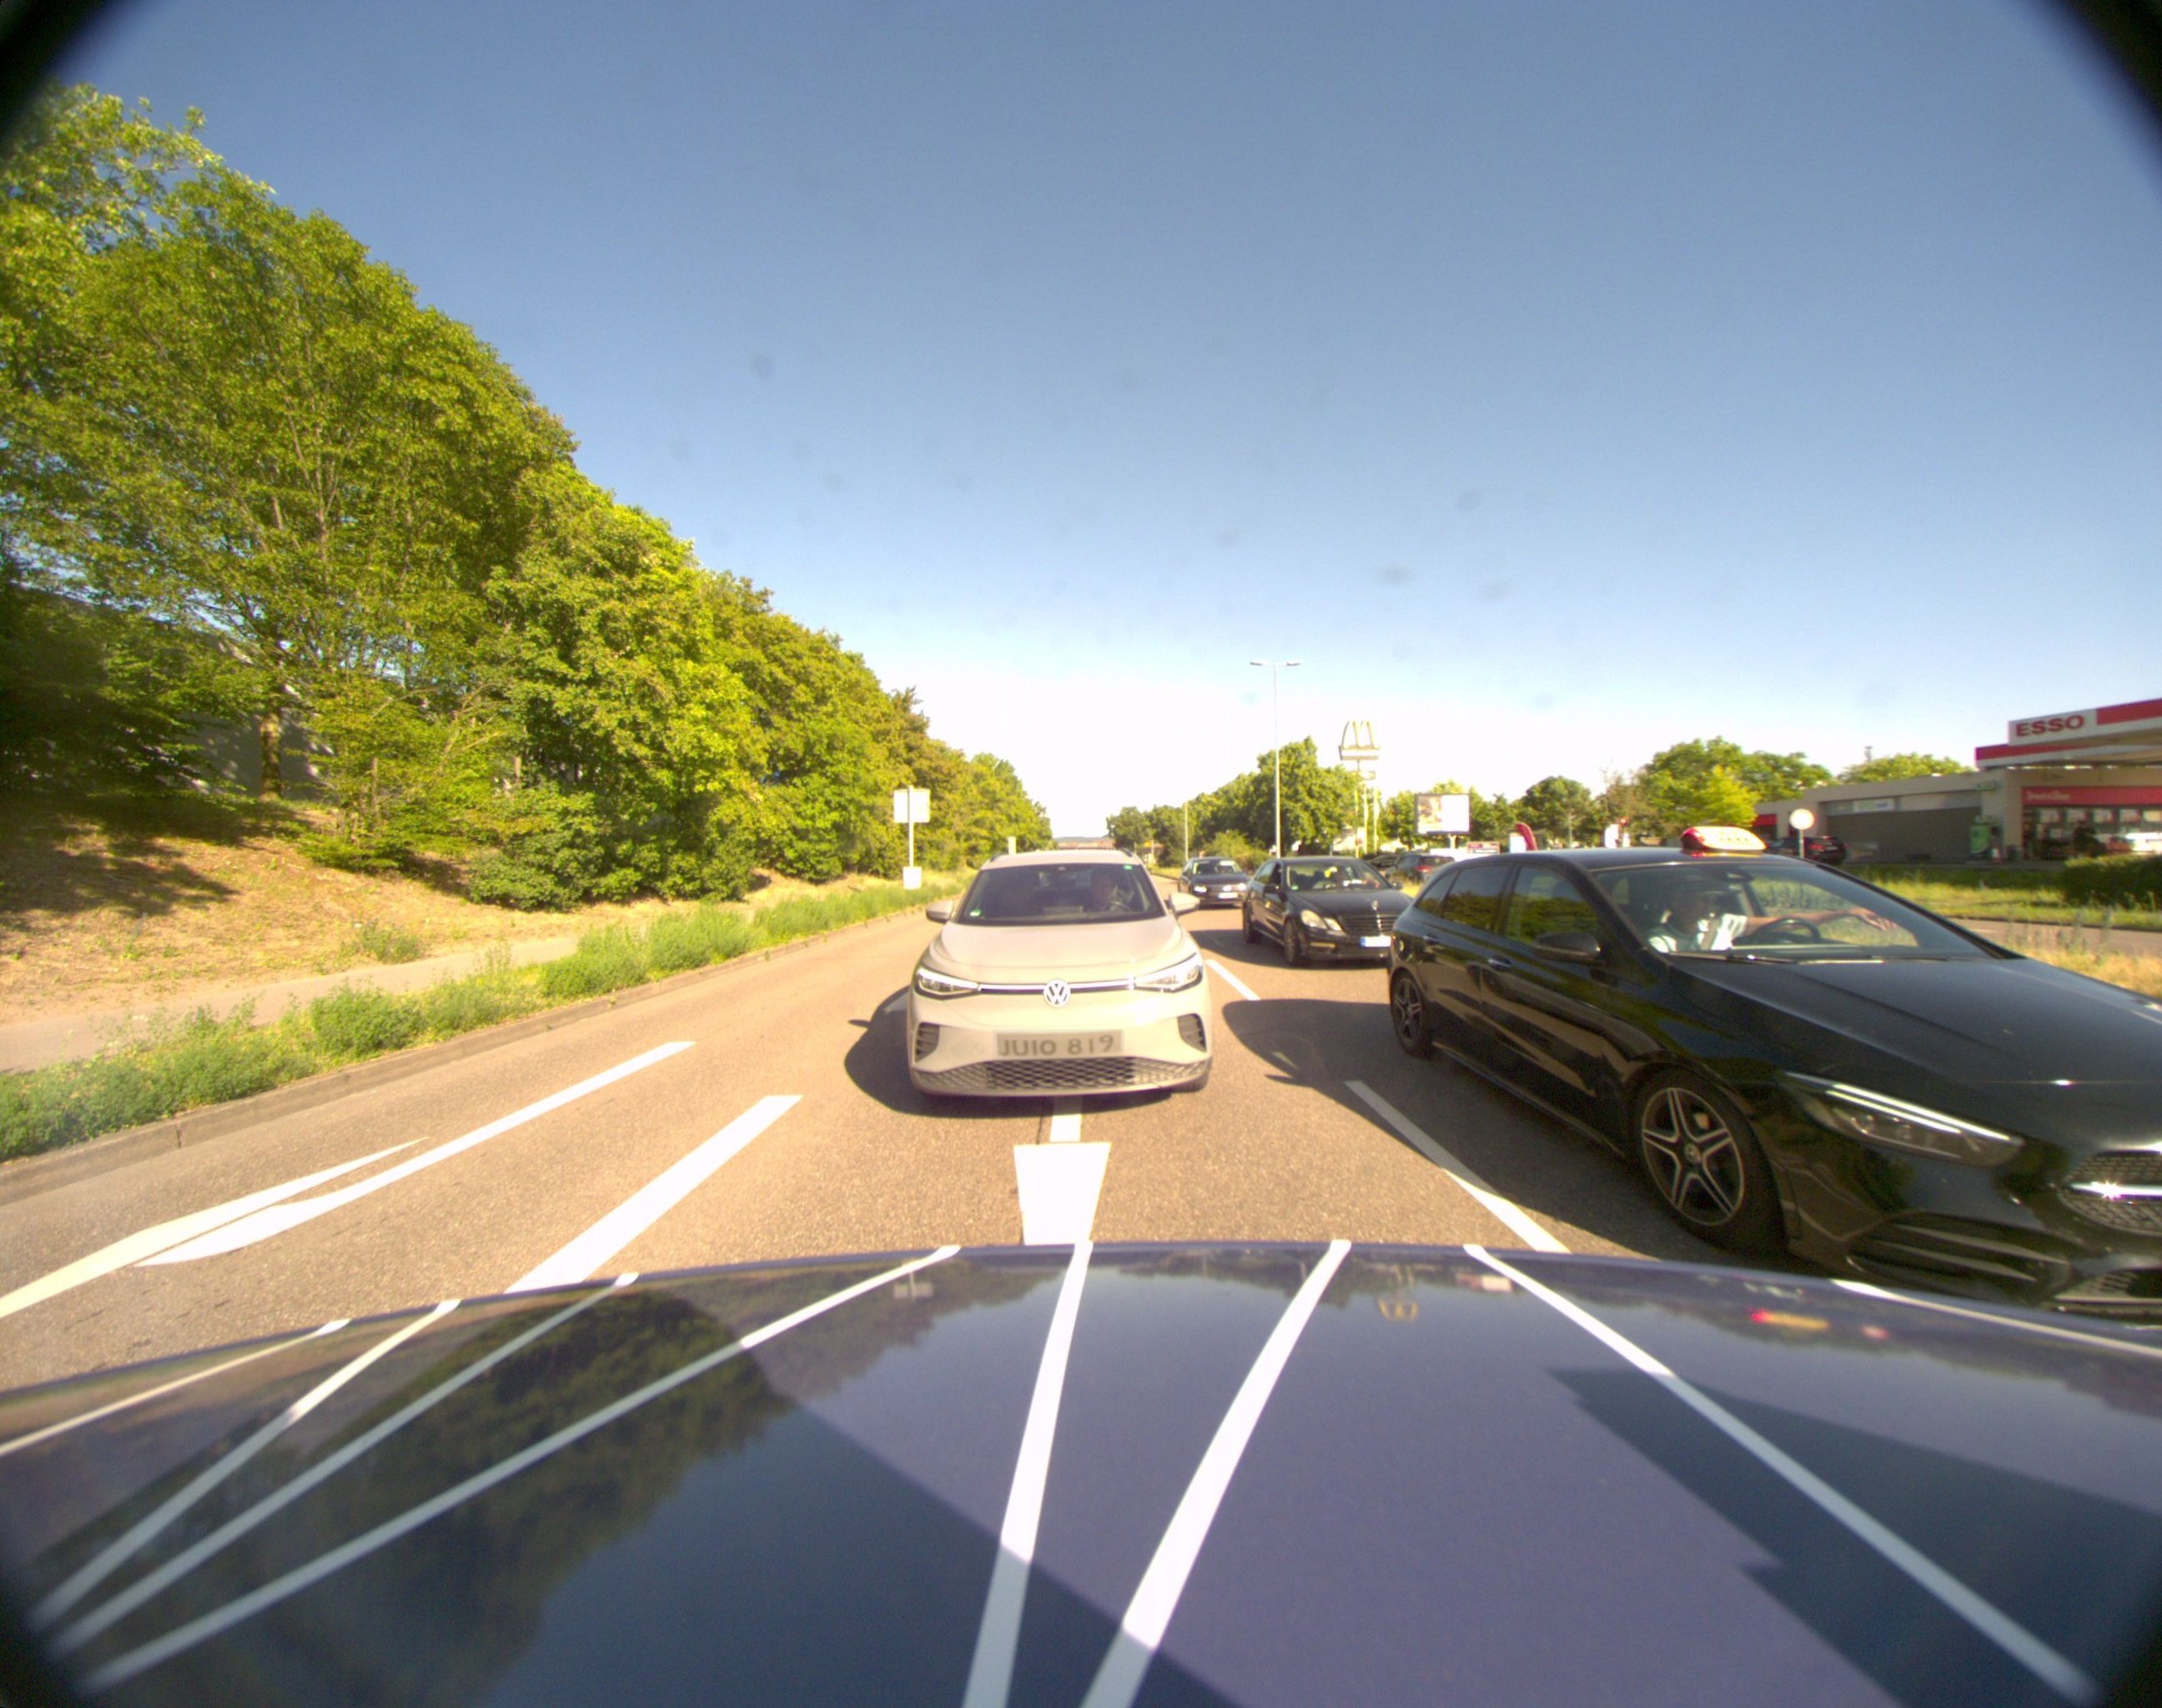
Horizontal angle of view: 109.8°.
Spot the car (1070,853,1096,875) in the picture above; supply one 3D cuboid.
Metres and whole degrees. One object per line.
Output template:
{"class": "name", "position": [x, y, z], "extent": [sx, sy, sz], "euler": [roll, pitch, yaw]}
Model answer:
{"class": "car", "position": [0.191, 0.729, 55.203], "extent": [1.765, 1.503, 3.760], "euler": [-2, 0, 1]}

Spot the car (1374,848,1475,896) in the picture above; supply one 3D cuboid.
{"class": "car", "position": [13.209, 0.655, 29.524], "extent": [1.884, 1.680, 4.436], "euler": [-1, 0, 0]}

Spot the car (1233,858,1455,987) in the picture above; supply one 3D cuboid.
{"class": "car", "position": [3.644, 0.845, 11.476], "extent": [1.862, 1.515, 4.403], "euler": [-1, 0, 1]}

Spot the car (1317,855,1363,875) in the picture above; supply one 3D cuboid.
{"class": "car", "position": [19.702, 0.823, 57.898], "extent": [1.908, 1.437, 4.607], "euler": [1, 0, 0]}

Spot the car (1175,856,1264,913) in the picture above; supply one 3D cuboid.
{"class": "car", "position": [3.970, 0.822, 22.456], "extent": [1.862, 1.472, 4.403], "euler": [-1, 0, 1]}

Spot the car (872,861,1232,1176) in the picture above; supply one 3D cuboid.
{"class": "car", "position": [-0.128, 0.895, 5.999], "extent": [1.871, 1.588, 3.932], "euler": [-2, 0, 1]}

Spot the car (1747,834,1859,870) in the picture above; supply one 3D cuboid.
{"class": "car", "position": [37.701, -0.104, 39.831], "extent": [1.998, 1.759, 4.118], "euler": [-2, 0, 2]}

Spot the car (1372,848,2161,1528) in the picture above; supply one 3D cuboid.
{"class": "car", "position": [3.160, 0.805, 3.902], "extent": [1.804, 1.616, 4.188], "euler": [-1, 0, 2]}

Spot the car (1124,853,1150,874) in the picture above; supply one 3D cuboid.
{"class": "car", "position": [4.518, 0.755, 61.771], "extent": [1.862, 1.578, 4.403], "euler": [-1, 0, 1]}

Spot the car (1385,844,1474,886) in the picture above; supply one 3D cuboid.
{"class": "car", "position": [17.800, 0.532, 39.104], "extent": [1.999, 2.002, 5.024], "euler": [1, 0, -3]}

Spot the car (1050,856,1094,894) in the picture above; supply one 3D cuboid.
{"class": "car", "position": [-0.346, 0.879, 33.606], "extent": [1.765, 1.503, 3.760], "euler": [-2, 0, 1]}

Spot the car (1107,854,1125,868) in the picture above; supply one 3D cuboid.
{"class": "car", "position": [4.095, 0.841, 89.271], "extent": [1.862, 1.578, 4.403], "euler": [-1, 0, 1]}

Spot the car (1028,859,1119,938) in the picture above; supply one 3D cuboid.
{"class": "car", "position": [-0.115, 0.893, 16.979], "extent": [1.765, 1.503, 3.760], "euler": [-2, 0, 1]}

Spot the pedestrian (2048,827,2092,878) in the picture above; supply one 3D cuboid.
{"class": "pedestrian", "position": [40.147, -0.062, 30.846], "extent": [0.703, 2.002, 0.840], "euler": [-1, 0, 1]}
